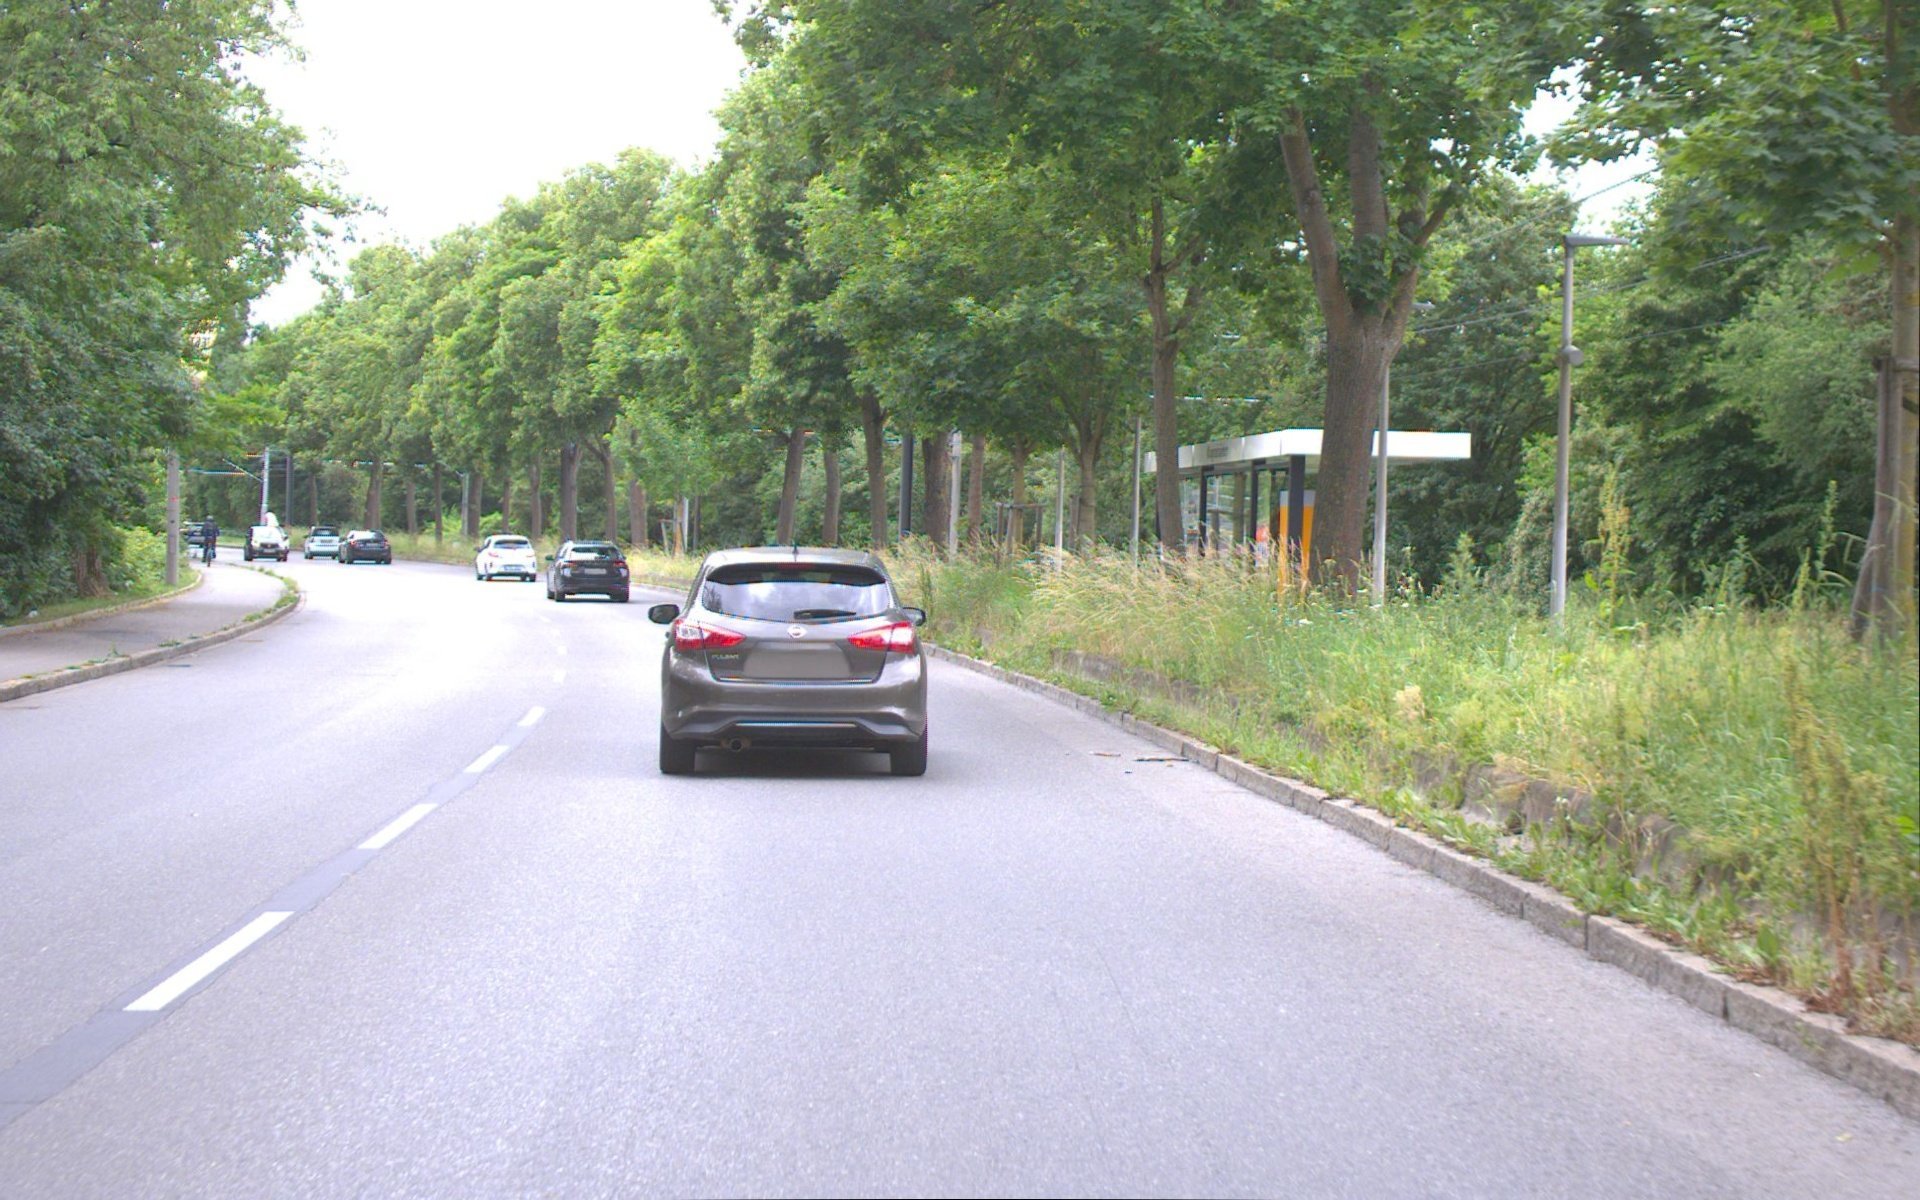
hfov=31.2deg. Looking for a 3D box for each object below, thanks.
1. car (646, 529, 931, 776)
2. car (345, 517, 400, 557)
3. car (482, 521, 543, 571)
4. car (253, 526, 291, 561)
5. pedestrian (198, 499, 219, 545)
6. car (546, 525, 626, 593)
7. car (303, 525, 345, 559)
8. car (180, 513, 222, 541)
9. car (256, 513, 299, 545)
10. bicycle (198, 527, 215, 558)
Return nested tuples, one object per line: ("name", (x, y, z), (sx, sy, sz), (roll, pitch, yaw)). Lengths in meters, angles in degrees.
("car", (-1.254, 0.302, 24.133), (1.816, 1.503, 4.001), (1, 2, -4))
("car", (-25.221, -2.719, 147.518), (1.775, 1.467, 4.002), (4, 1, -17))
("car", (-14.576, -1.769, 111.846), (1.775, 1.467, 4.001), (3, 1, -9))
("car", (-30.449, -2.513, 152.147), (1.595, 1.500, 3.029), (0, 1, -12))
("pedestrian", (-26.436, -2.758, 120.878), (0.617, 1.566, 0.849), (3, 1, -14))
("car", (-9.047, -1.004, 83.357), (1.775, 1.467, 4.001), (3, 1, -5))
("car", (-30.002, -2.747, 162.186), (1.775, 1.467, 4.002), (2, 2, -12))
("car", (-46.124, -4.430, 208.941), (1.775, 1.467, 4.002), (3, 1, -22))
("car", (-36.059, -3.758, 181.589), (1.775, 1.467, 4.002), (3, 1, -17))
("bicycle", (-26.485, -2.033, 120.880), (0.488, 1.027, 1.125), (3, 1, -14))
